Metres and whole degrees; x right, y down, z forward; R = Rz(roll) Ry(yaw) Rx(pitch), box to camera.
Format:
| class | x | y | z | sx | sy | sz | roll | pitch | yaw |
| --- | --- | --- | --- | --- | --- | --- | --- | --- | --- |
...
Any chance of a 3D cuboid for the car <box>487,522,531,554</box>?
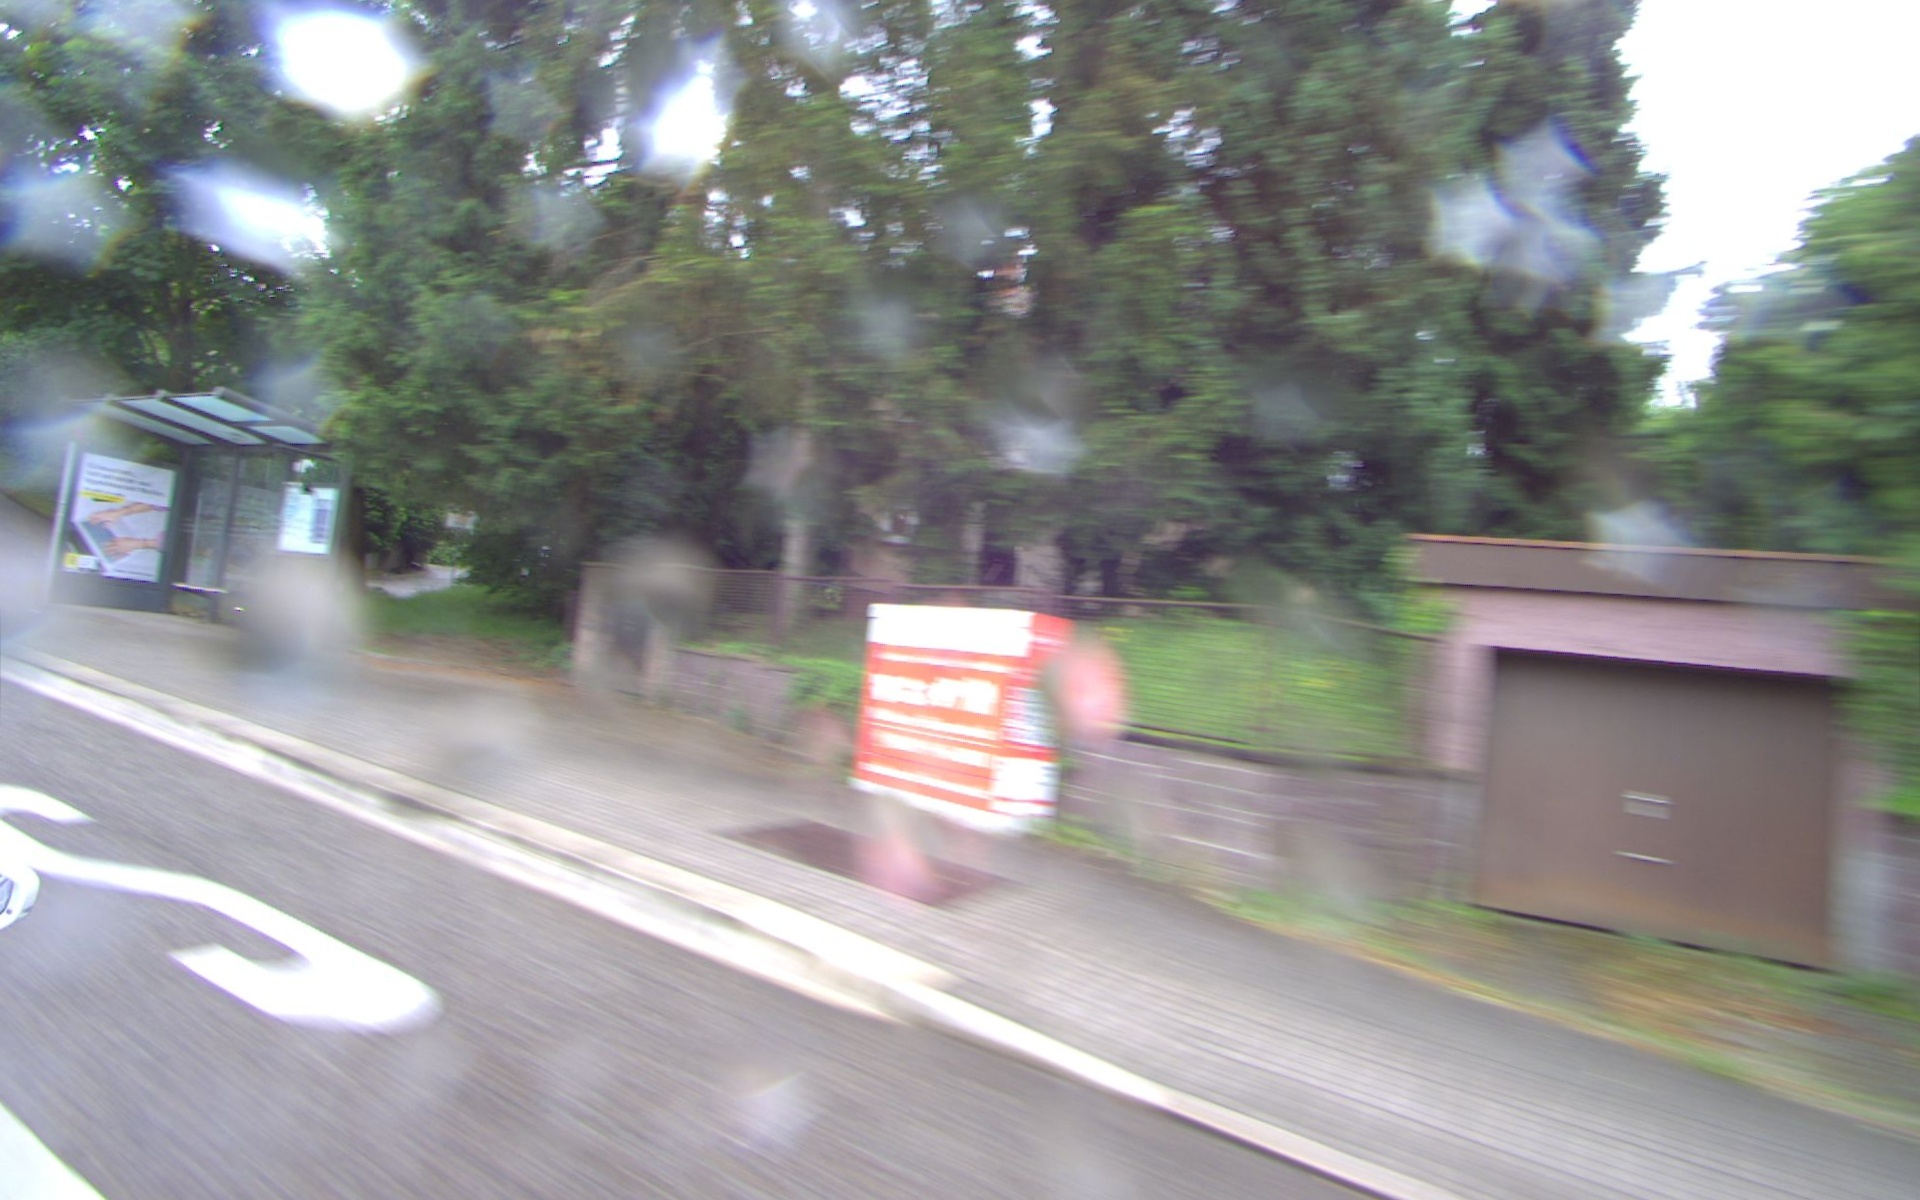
| class | x | y | z | sx | sy | sz | roll | pitch | yaw |
| --- | --- | --- | --- | --- | --- | --- | --- | --- | --- |
| car | -30.652 | -4.186 | 68.486 | 1.968 | 1.613 | 3.994 | 6 | -3 | -14 |
